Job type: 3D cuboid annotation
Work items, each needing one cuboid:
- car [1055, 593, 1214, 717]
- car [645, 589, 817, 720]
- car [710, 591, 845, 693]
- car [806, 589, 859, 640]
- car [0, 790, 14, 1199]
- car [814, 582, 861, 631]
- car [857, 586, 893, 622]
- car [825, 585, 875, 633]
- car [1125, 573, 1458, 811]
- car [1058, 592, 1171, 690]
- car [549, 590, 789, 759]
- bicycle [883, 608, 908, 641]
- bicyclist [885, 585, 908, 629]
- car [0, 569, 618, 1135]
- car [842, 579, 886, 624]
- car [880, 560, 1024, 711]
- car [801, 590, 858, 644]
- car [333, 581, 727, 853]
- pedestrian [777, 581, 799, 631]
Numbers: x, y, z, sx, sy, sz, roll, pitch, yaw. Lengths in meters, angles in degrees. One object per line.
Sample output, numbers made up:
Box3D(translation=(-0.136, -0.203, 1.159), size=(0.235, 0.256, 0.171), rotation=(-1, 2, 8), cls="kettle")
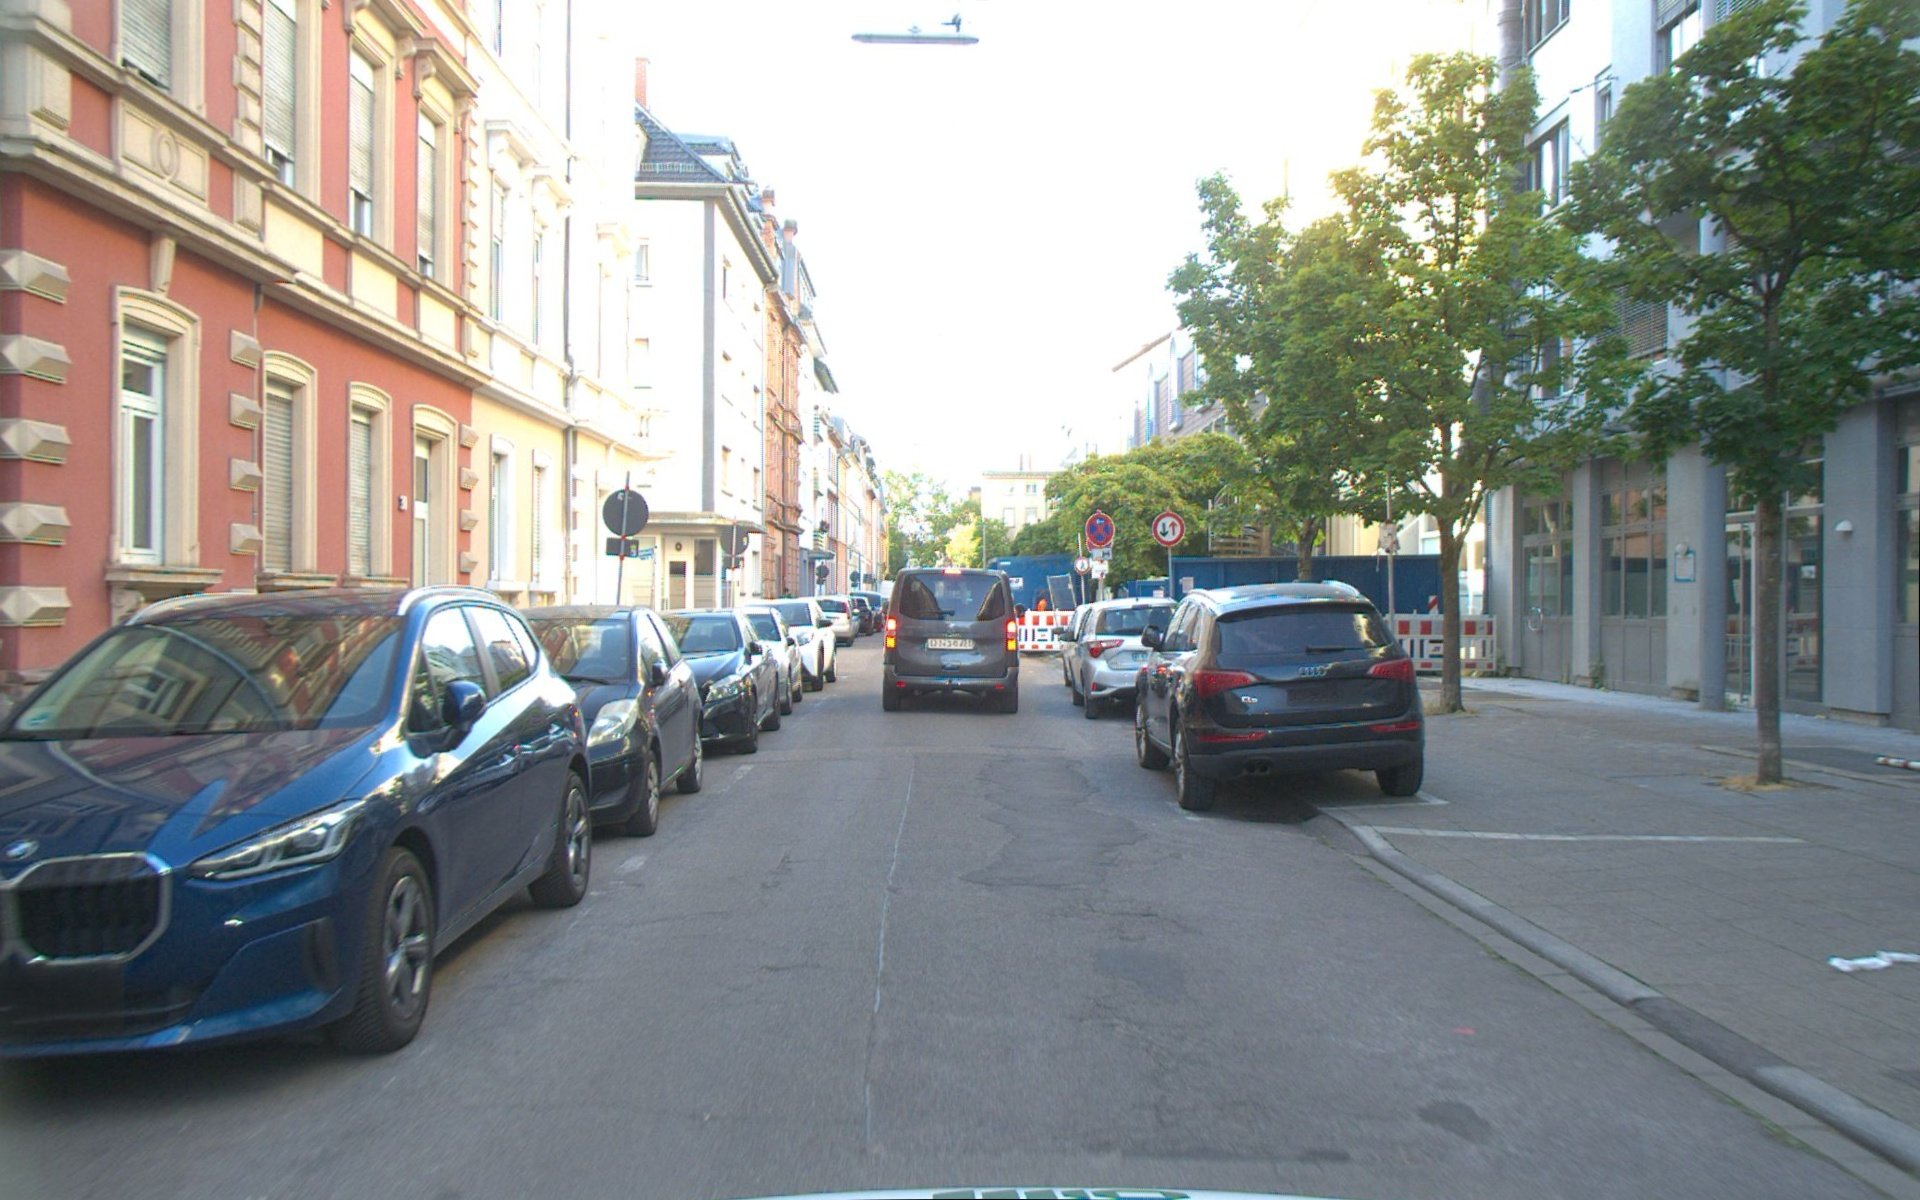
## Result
Box3D(translation=(2.357, 0.701, 23.180), size=(1.643, 1.551, 3.969), rotation=(-1, 0, -2), cls="car")
Box3D(translation=(-3.082, 0.674, 23.098), size=(1.882, 1.587, 4.265), rotation=(-2, 1, -2), cls="car")
Box3D(translation=(-3.059, 0.663, 28.502), size=(1.882, 1.533, 4.266), rotation=(-2, 1, -1), cls="car")
Box3D(translation=(-4.384, 0.497, 56.896), size=(1.624, 1.551, 3.415), rotation=(5, -1, -4), cls="car")
Box3D(translation=(-2.676, 0.738, 0.953), size=(1.882, 1.587, 4.265), rotation=(-2, 1, -2), cls="car")
Box3D(translation=(-4.748, 0.248, 63.998), size=(1.634, 1.694, 3.089), rotation=(5, -1, -4), cls="car")
Box3D(translation=(-5.035, 0.240, 97.180), size=(1.855, 1.878, 4.345), rotation=(5, -1, -4), cls="car")
Box3D(translation=(-4.519, 0.359, 67.637), size=(1.855, 1.749, 3.750), rotation=(5, -1, -4), cls="car")
Box3D(translation=(2.588, 0.650, 14.026), size=(1.847, 1.651, 4.433), rotation=(-1, 0, -1), cls="car")
Box3D(translation=(2.550, 0.641, 27.913), size=(1.641, 1.501, 3.730), rotation=(-1, 0, 2), cls="car")
Box3D(translation=(-2.952, 0.685, 17.678), size=(1.882, 1.509, 4.265), rotation=(-2, 1, -2), cls="car")
Box3D(translation=(-2.171, 0.827, 56.072), size=(0.718, 1.045, 2.115), rotation=(2, 0, 1), cls="bicycle")
Box3D(translation=(-2.152, 0.232, 56.140), size=(0.718, 1.437, 0.940), rotation=(2, 0, 1), cls="bicyclist")
Box3D(translation=(-2.769, 0.713, 6.864), size=(1.882, 1.587, 4.265), rotation=(-2, 1, -2), cls="car")
Box3D(translation=(-4.502, 0.100, 77.009), size=(1.855, 1.878, 4.345), rotation=(5, -1, -4), cls="car")
Box3D(translation=(-0.175, 0.471, 23.505), size=(1.827, 1.919, 4.233), rotation=(1, 0, -2), cls="car")
Box3D(translation=(-4.061, 0.521, 51.576), size=(1.624, 1.485, 3.415), rotation=(5, -1, -4), cls="car")
Box3D(translation=(-2.916, 0.689, 12.206), size=(1.863, 1.587, 4.239), rotation=(-2, 1, -2), cls="car")
Box3D(translation=(-5.811, 0.201, 55.838), size=(0.725, 1.693, 0.703), rotation=(0, 0, -5), cls="pedestrian")
